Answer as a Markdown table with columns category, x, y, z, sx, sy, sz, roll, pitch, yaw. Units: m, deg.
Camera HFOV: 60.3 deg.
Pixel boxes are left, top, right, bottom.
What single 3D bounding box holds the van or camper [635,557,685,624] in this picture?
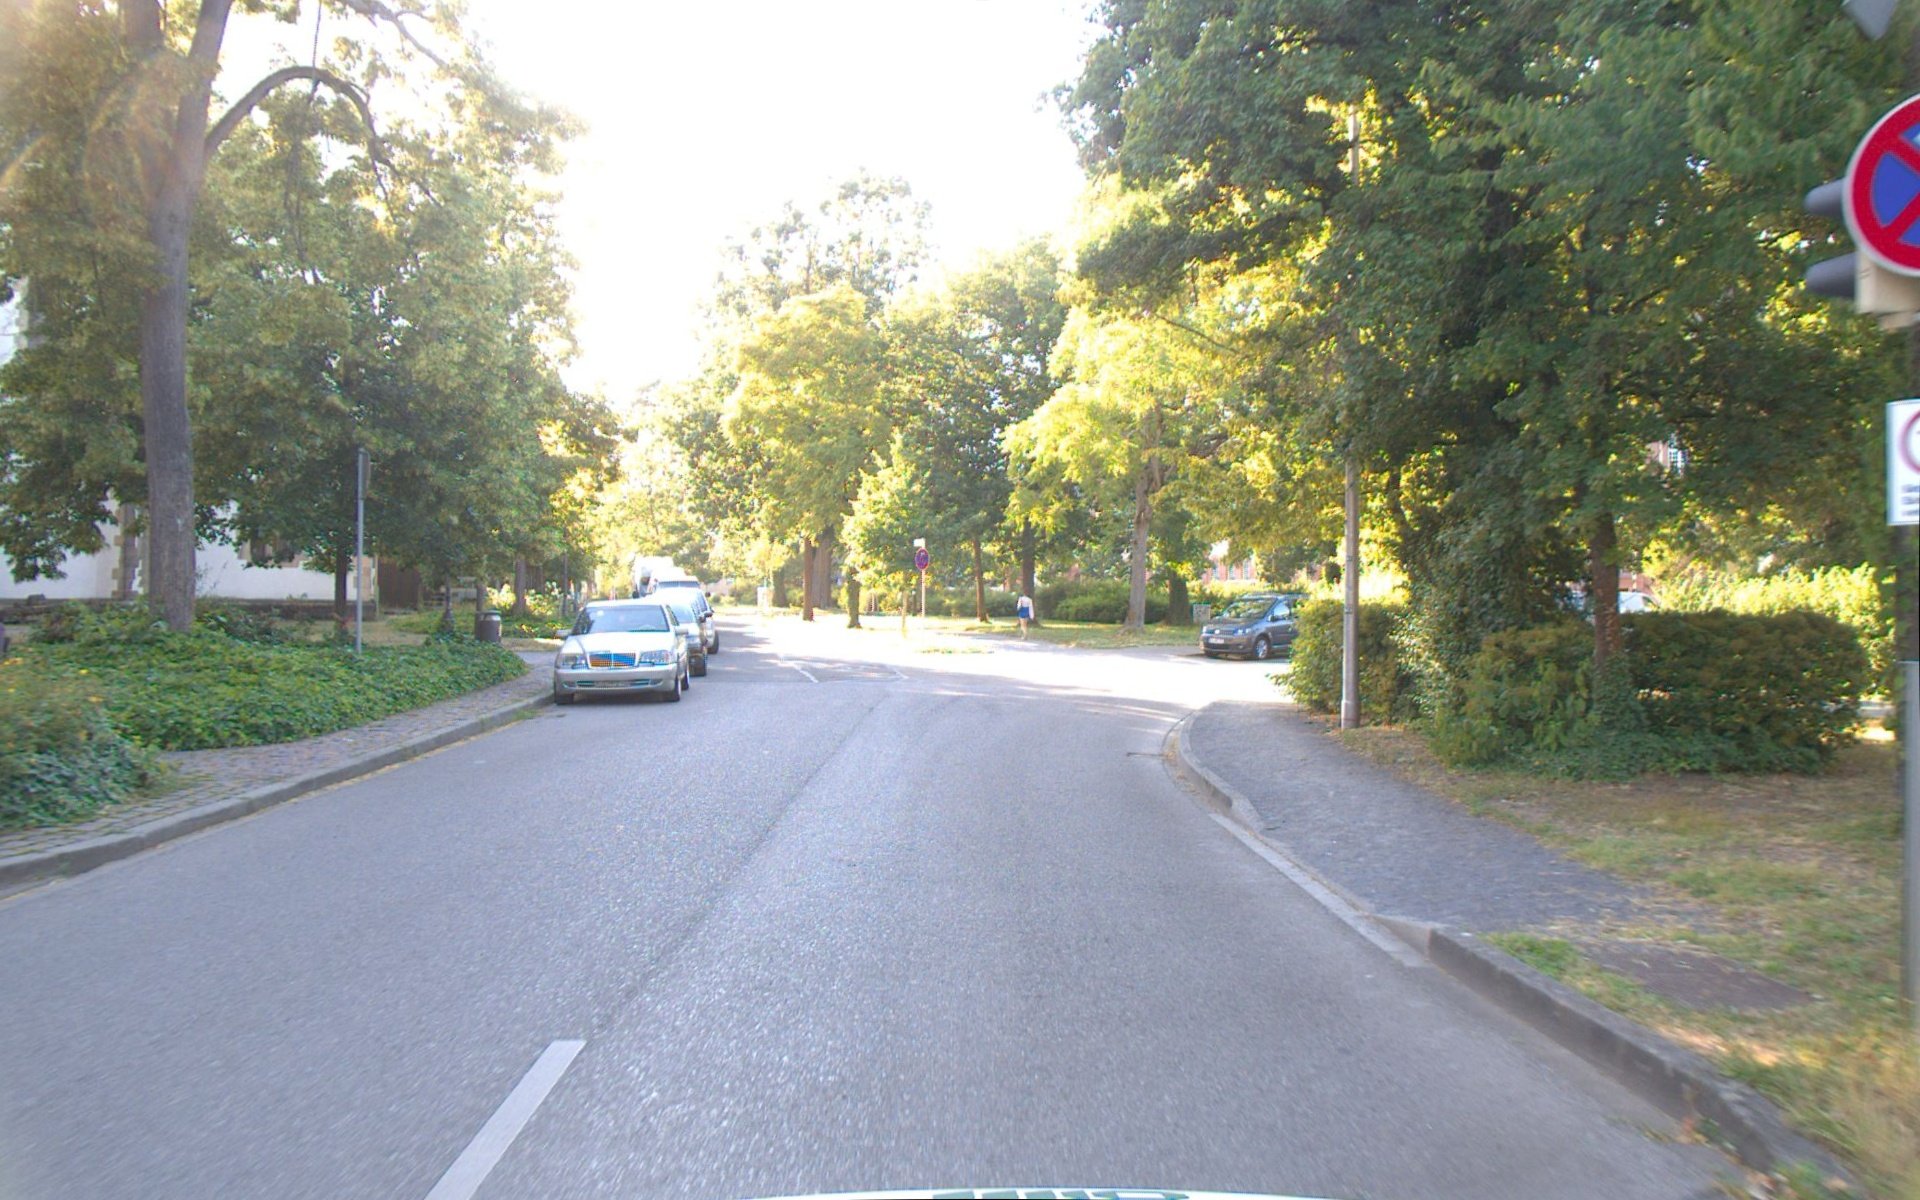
| category | x | y | z | sx | sy | sz | roll | pitch | yaw |
| --- | --- | --- | --- | --- | --- | --- | --- | --- | --- |
| van or camper | -14.122 | -0.449 | 77.547 | 2.053 | 2.959 | 6.312 | 1 | 0 | -12 |

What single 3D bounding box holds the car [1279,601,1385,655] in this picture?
| category | x | y | z | sx | sy | sz | roll | pitch | yaw |
| --- | --- | --- | --- | --- | --- | --- | --- | --- | --- |
| car | 10.736 | 0.786 | 47.621 | 1.369 | 1.448 | 3.402 | 3 | 2 | 45 |

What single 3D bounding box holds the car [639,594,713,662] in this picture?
| category | x | y | z | sx | sy | sz | roll | pitch | yaw |
| --- | --- | --- | --- | --- | --- | --- | --- | --- | --- |
| car | -6.480 | 0.601 | 37.986 | 1.582 | 1.465 | 3.599 | -1 | 0 | -9 |

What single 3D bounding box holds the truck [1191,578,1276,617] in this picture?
| category | x | y | z | sx | sy | sz | roll | pitch | yaw |
| --- | --- | --- | --- | --- | --- | --- | --- | --- | --- |
| truck | 22.754 | -0.248 | 137.923 | 2.576 | 3.082 | 7.929 | 1 | 0 | -30 |

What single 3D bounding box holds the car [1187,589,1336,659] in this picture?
| category | x | y | z | sx | sy | sz | roll | pitch | yaw |
| --- | --- | --- | --- | --- | --- | --- | --- | --- | --- |
| car | 8.108 | 0.630 | 44.219 | 1.778 | 1.705 | 4.289 | 3 | 2 | 45 |

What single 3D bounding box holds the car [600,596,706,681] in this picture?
| category | x | y | z | sx | sy | sz | roll | pitch | yaw |
| --- | --- | --- | --- | --- | --- | --- | --- | --- | --- |
| car | -5.772 | 0.681 | 31.531 | 1.791 | 1.440 | 4.486 | -1 | 0 | -9 |

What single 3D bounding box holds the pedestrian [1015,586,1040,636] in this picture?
| category | x | y | z | sx | sy | sz | roll | pitch | yaw |
| --- | --- | --- | --- | --- | --- | --- | --- | --- | --- |
| pedestrian | 2.171 | 0.356 | 53.197 | 0.757 | 1.602 | 0.768 | 0 | 0 | 0 |

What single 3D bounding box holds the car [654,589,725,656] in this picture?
| category | x | y | z | sx | sy | sz | roll | pitch | yaw |
| --- | --- | --- | --- | --- | --- | --- | --- | --- | --- |
| car | -6.865 | 0.529 | 41.873 | 1.673 | 1.606 | 3.688 | 1 | 0 | -10 |

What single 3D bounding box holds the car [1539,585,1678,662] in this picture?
| category | x | y | z | sx | sy | sz | roll | pitch | yaw |
| --- | --- | --- | --- | --- | --- | --- | --- | --- | --- |
| car | 18.269 | 0.641 | 46.437 | 1.925 | 2.049 | 5.121 | 1 | 0 | 42 |

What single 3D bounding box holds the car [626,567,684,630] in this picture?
| category | x | y | z | sx | sy | sz | roll | pitch | yaw |
| --- | --- | --- | --- | --- | --- | --- | --- | --- | --- |
| car | -12.162 | -0.074 | 65.750 | 1.821 | 2.397 | 5.165 | 1 | 0 | -15 |

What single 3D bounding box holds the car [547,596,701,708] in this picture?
| category | x | y | z | sx | sy | sz | roll | pitch | yaw |
| --- | --- | --- | --- | --- | --- | --- | --- | --- | --- |
| car | -4.875 | 0.693 | 24.533 | 1.745 | 1.440 | 4.492 | -1 | 0 | -6 |

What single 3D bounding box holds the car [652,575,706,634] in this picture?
| category | x | y | z | sx | sy | sz | roll | pitch | yaw |
| --- | --- | --- | --- | --- | --- | --- | --- | --- | --- |
| car | -10.101 | 0.144 | 59.345 | 1.817 | 1.980 | 4.829 | 1 | 0 | -10 |

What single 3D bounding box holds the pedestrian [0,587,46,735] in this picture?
| category | x | y | z | sx | sy | sz | roll | pitch | yaw |
| --- | --- | --- | --- | --- | --- | --- | --- | --- | --- |
| pedestrian | -8.783 | 0.540 | 14.959 | 0.539 | 1.320 | 0.766 | 0 | 0 | 7 |
